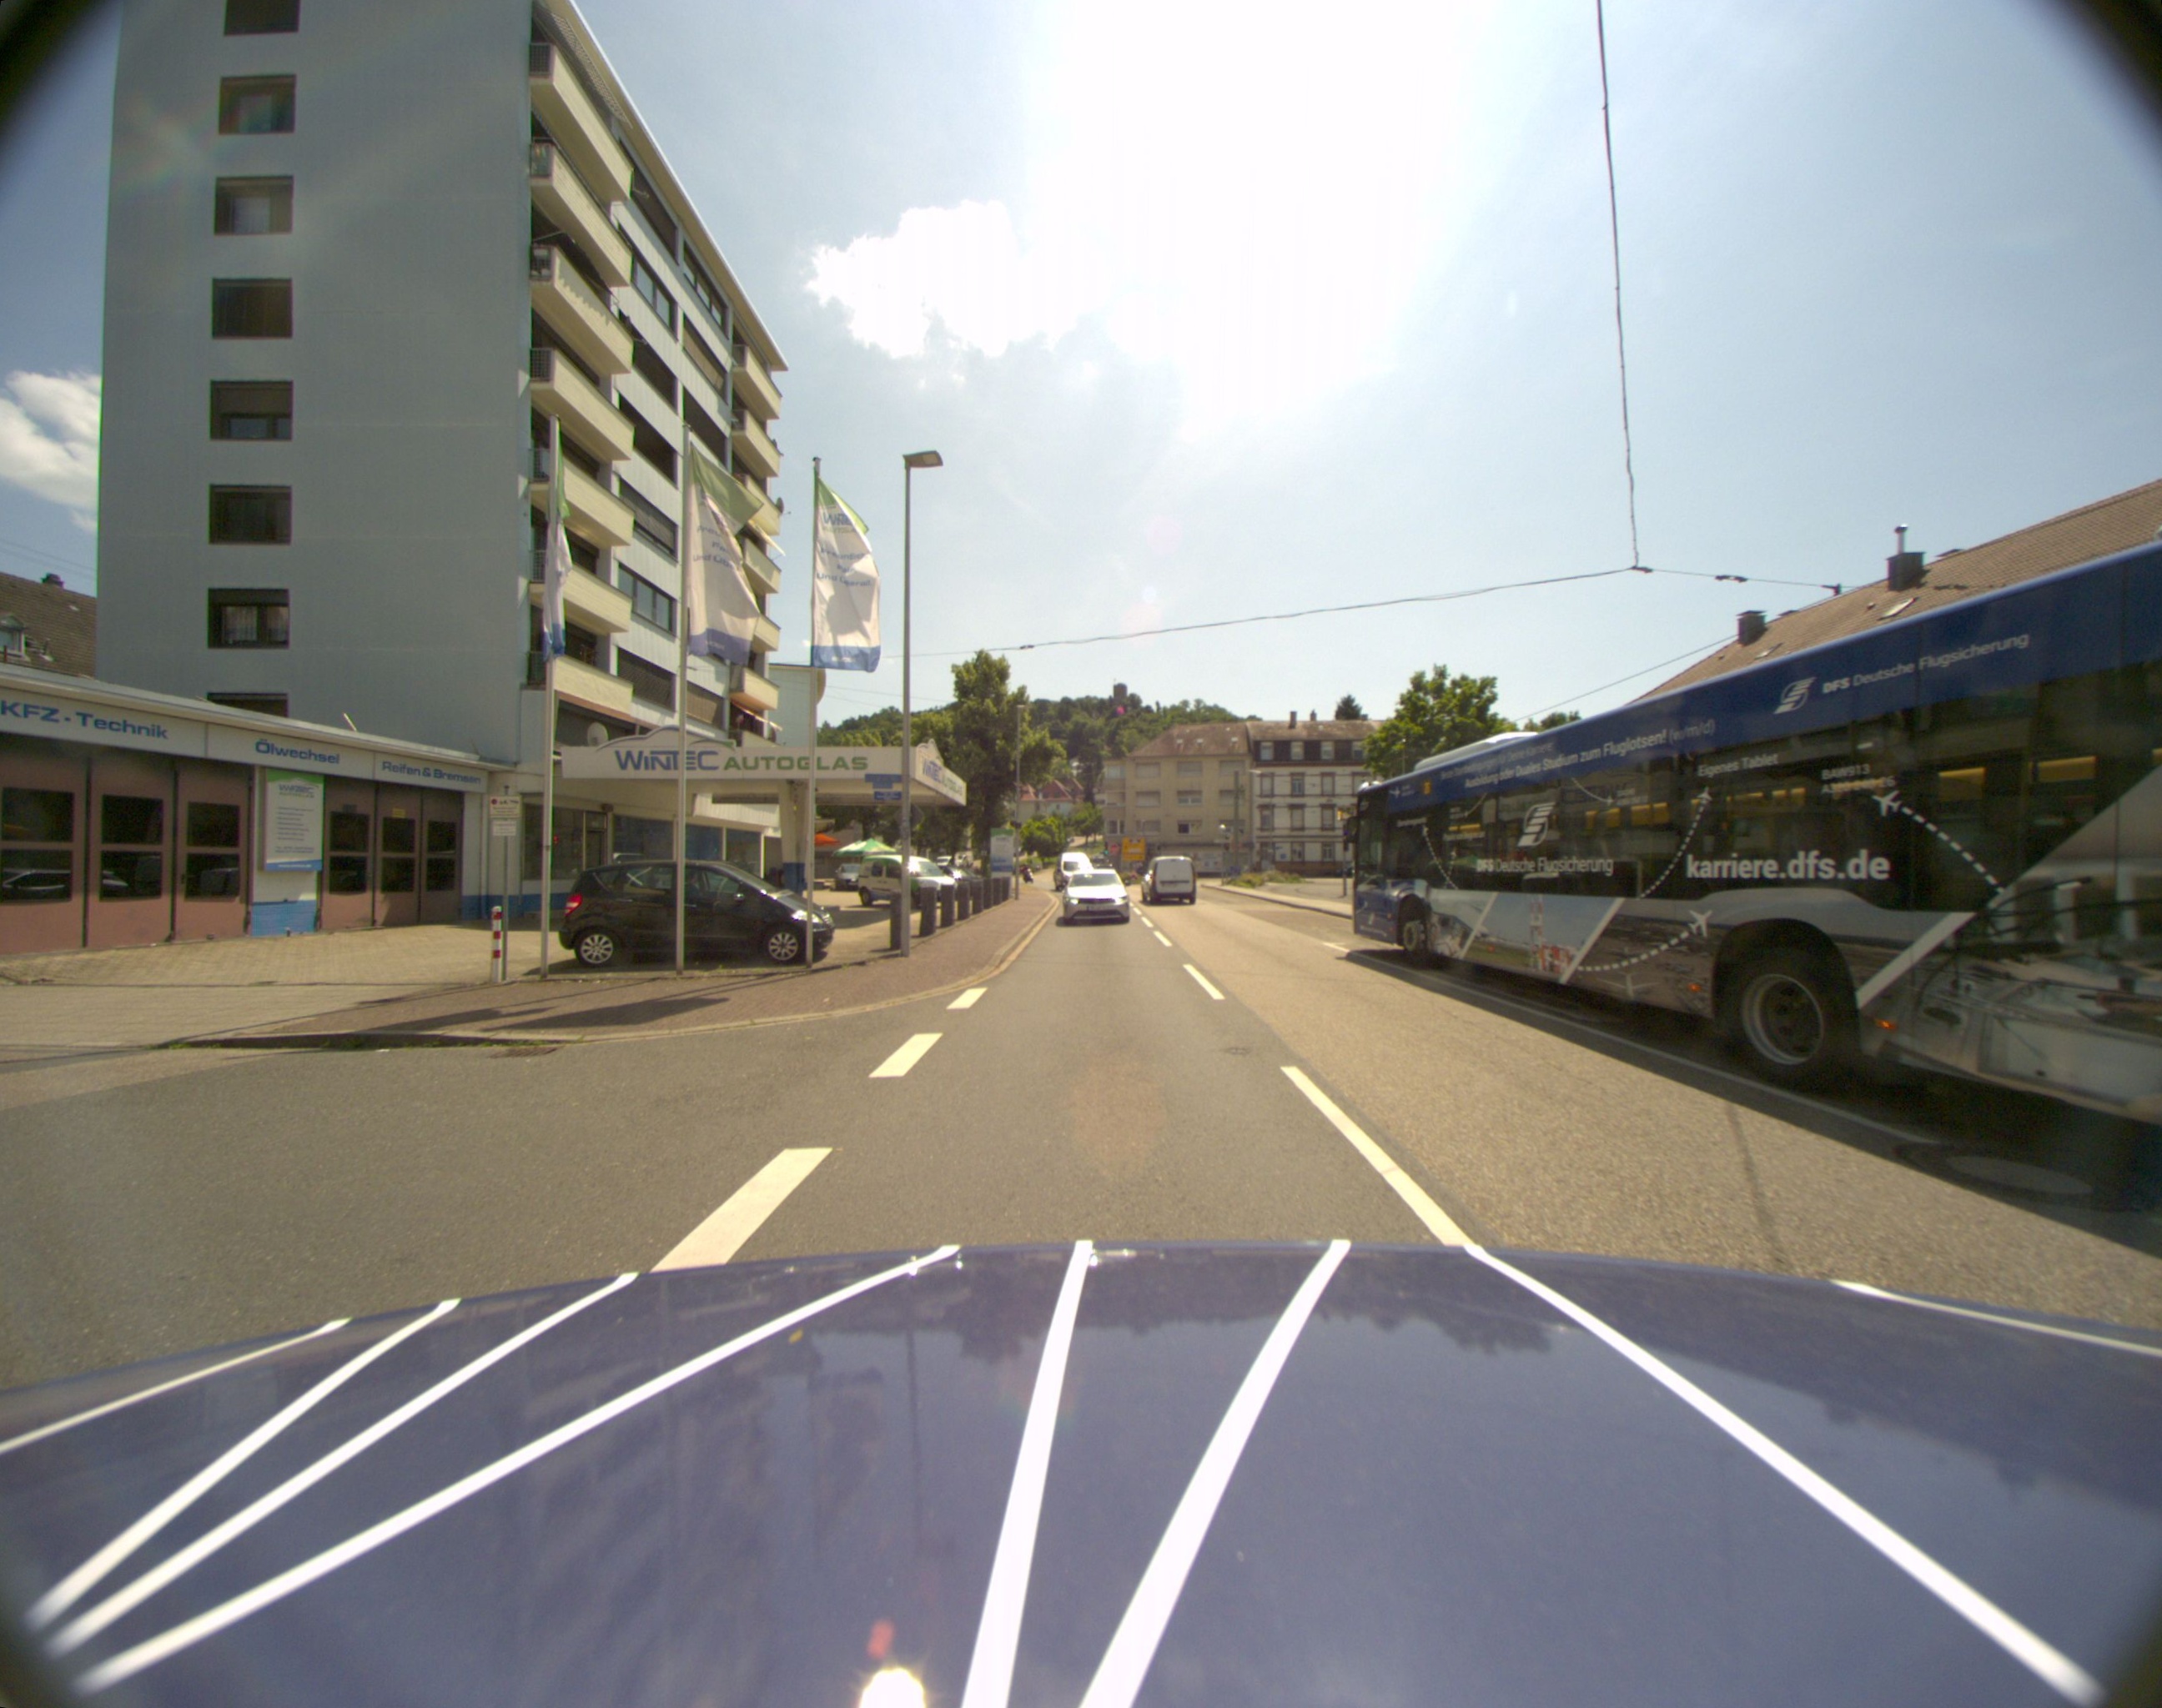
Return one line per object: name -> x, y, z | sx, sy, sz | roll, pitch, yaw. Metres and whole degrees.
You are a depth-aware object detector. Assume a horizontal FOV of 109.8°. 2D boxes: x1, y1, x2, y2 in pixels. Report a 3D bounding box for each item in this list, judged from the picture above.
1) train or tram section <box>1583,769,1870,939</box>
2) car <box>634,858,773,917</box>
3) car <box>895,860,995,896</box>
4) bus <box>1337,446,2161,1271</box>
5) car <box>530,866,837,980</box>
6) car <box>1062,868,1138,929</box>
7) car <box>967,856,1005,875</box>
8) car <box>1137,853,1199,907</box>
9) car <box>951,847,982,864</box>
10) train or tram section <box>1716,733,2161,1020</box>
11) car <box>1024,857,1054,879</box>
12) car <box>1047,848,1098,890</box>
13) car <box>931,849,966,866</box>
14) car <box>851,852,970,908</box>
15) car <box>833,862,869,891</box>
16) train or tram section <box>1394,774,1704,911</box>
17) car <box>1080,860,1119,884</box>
train or tram section -> 14.717, 0.012, 17.819 | 2.970, 3.474, 4.417 | 0, 0, 1
car -> -11.348, 0.934, 23.258 | 1.750, 1.617, 4.706 | -1, 0, 2
car -> -5.837, 1.001, 32.676 | 3.963, 1.420, 1.703 | 1, 0, 25
bus -> 5.954, -0.064, 7.365 | 2.915, 3.407, 12.038 | -2, 1, 1
car -> -5.973, 0.980, 11.930 | 3.890, 1.534, 1.840 | 0, 1, -12
car -> 0.420, 1.147, 20.986 | 1.818, 1.371, 4.391 | -1, 0, -2
car -> -11.010, 1.312, 88.493 | 2.398, 2.002, 6.378 | -2, 1, 12
car -> 3.349, 0.948, 30.085 | 1.708, 1.840, 4.711 | -2, 1, -2
car -> -15.533, 0.171, 103.450 | 2.398, 2.002, 5.385 | -2, 1, 12
train or tram section -> 14.565, 0.223, 9.387 | 2.970, 3.474, 12.658 | -2, 0, 1
car -> -3.305, 1.076, 60.719 | 1.998, 1.608, 4.000 | -2, 1, 1
car -> -0.582, 0.804, 44.760 | 2.000, 2.258, 5.439 | -2, 1, -10
car -> -16.856, 0.404, 96.911 | 2.398, 2.002, 5.385 | -2, 1, 12
car -> -6.109, 0.903, 26.984 | 4.278, 1.779, 1.827 | -2, 1, 40
car -> -12.230, 1.154, 40.345 | 1.715, 1.392, 4.276 | -1, 0, -18
train or tram section -> 14.872, -0.281, 26.235 | 2.970, 3.474, 12.714 | -2, 0, 1
car -> 1.250, 1.247, 53.914 | 1.842, 1.482, 4.807 | -1, 1, -10
